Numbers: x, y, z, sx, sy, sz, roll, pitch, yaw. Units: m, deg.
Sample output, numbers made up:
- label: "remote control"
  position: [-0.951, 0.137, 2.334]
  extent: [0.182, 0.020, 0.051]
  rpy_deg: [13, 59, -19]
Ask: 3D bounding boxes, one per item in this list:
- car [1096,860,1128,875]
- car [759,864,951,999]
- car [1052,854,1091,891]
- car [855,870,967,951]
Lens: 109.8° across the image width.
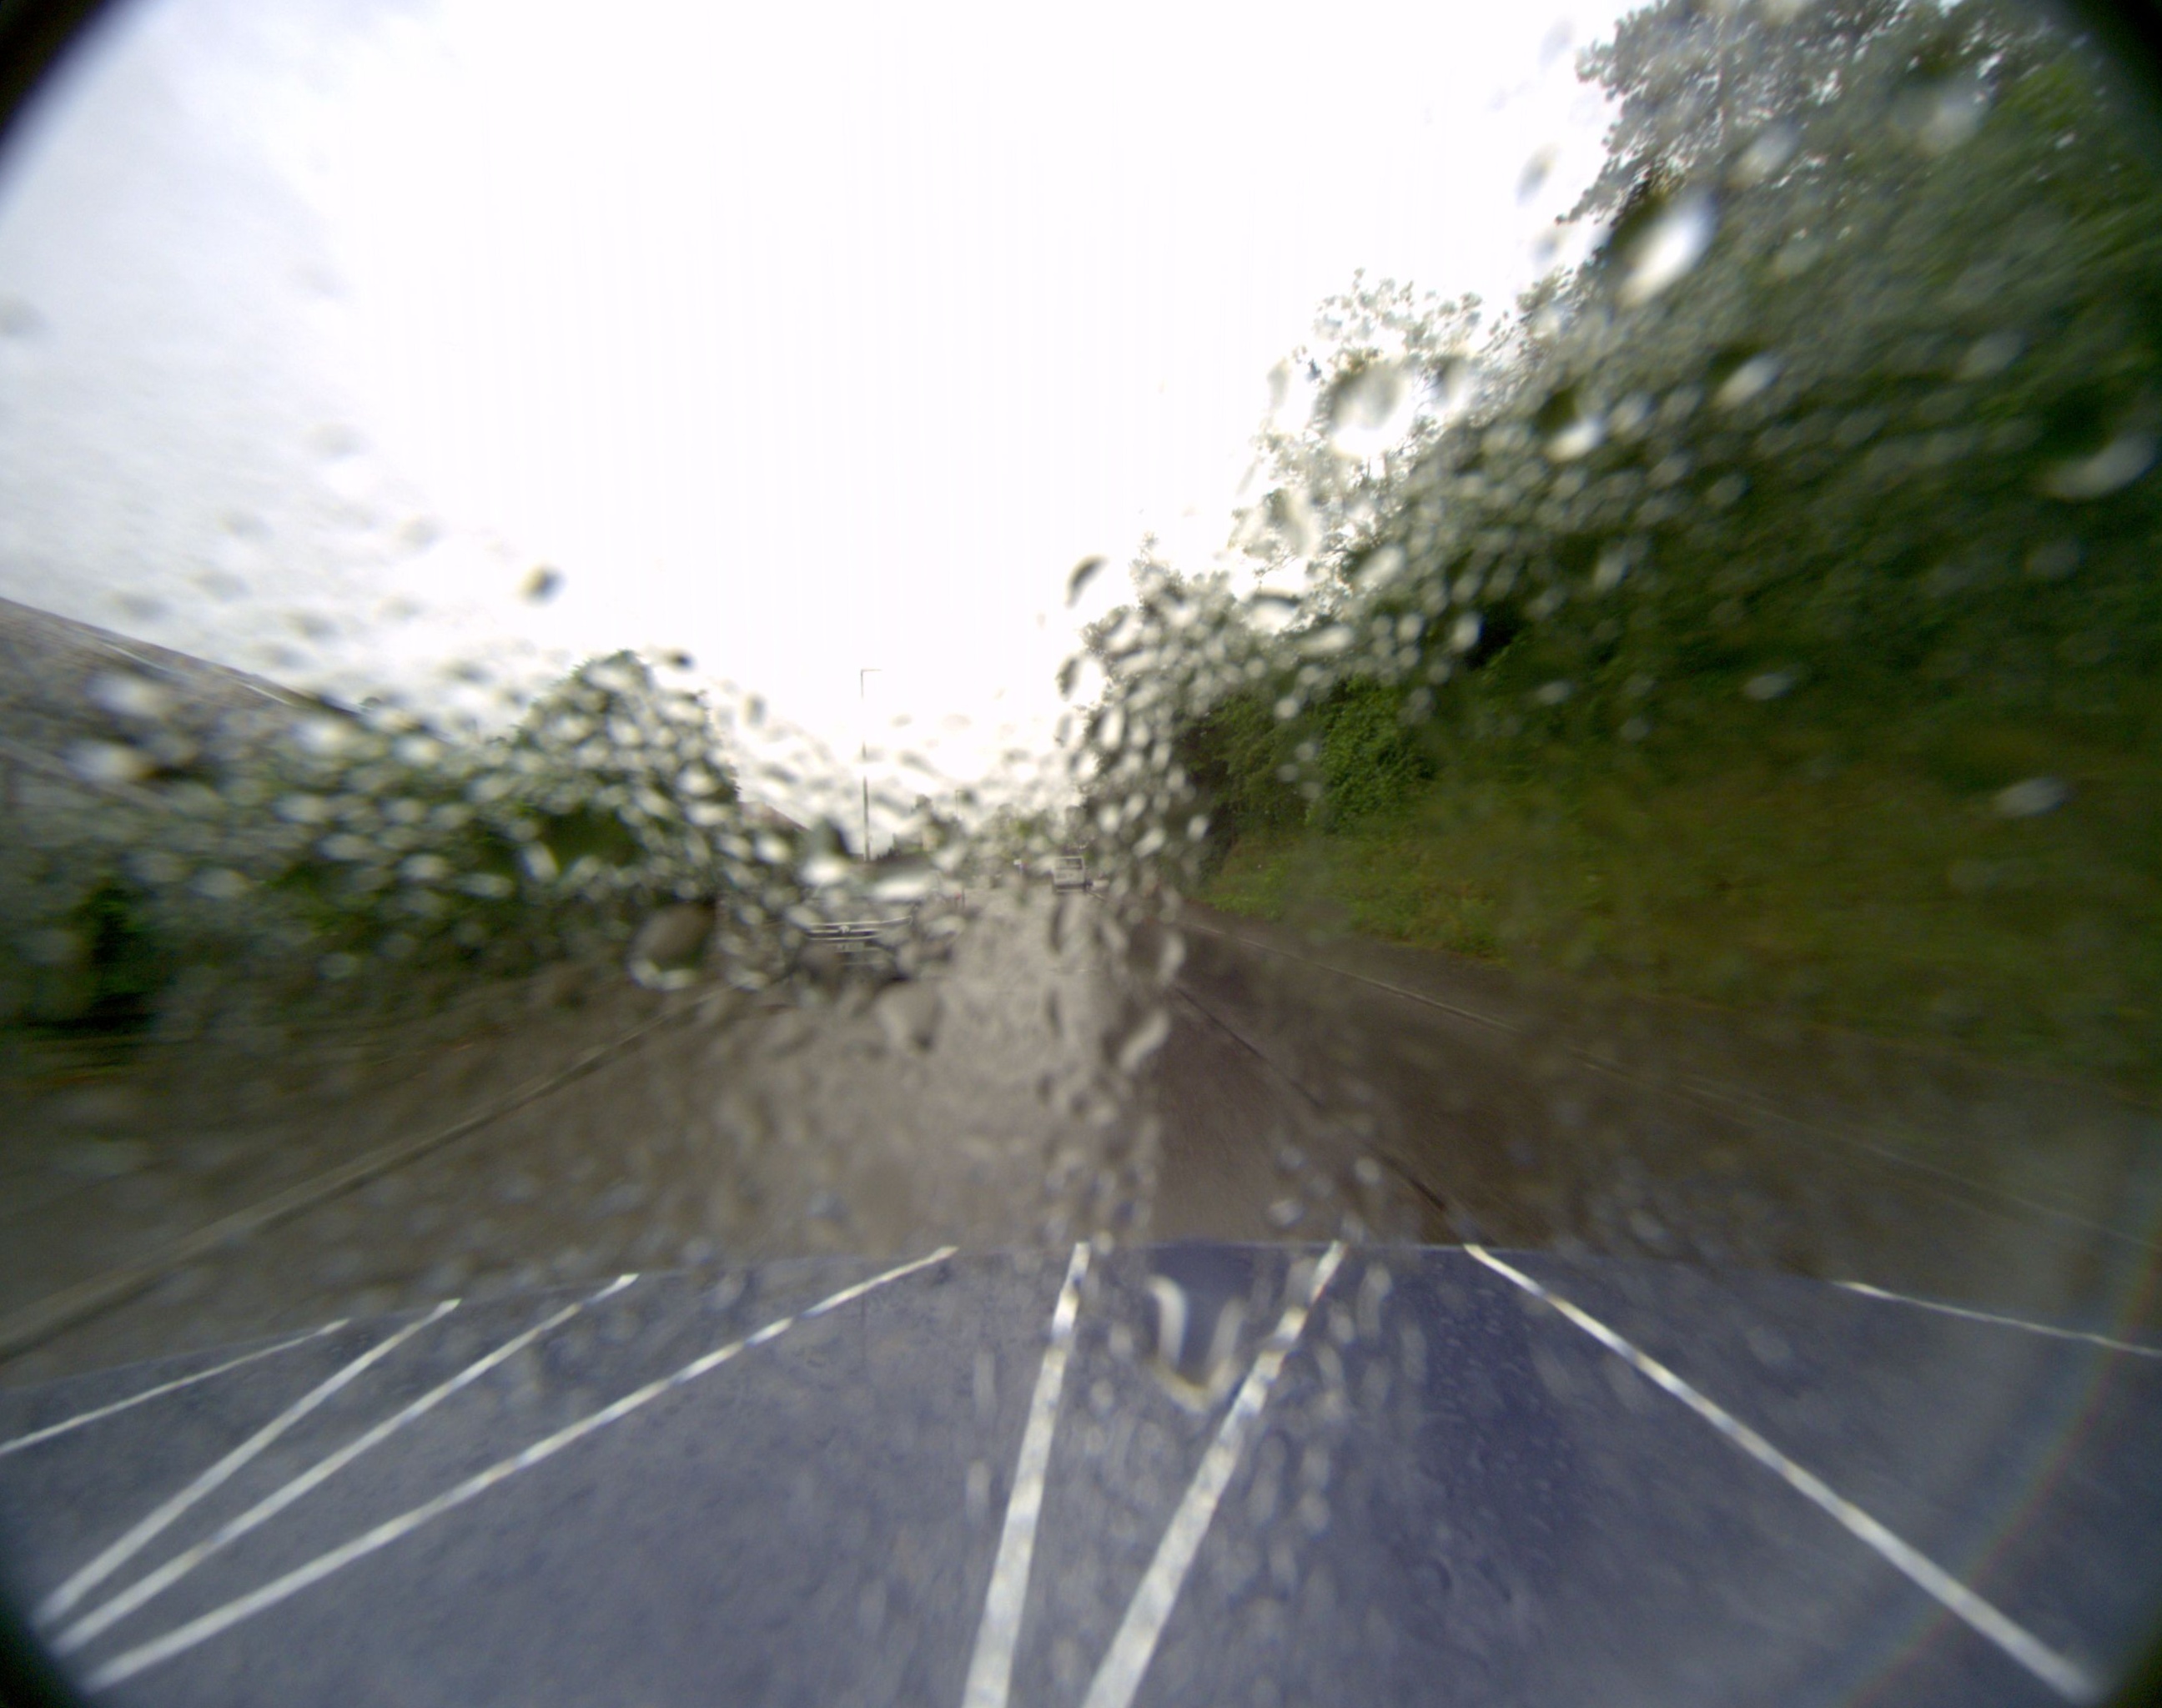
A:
- label: "car"
  position: [3.521, 1.492, 85.518]
  extent: [1.797, 1.460, 4.223]
  rpy_deg: [-3, -1, 28]
- label: "car"
  position: [-3.171, 0.989, 11.631]
  extent: [1.881, 1.582, 4.478]
  rpy_deg: [-2, -1, -5]
- label: "car"
  position: [-0.575, 1.036, 44.103]
  extent: [2.117, 1.963, 5.173]
  rpy_deg: [-2, -1, -1]
- label: "car"
  position: [-3.574, 1.120, 16.685]
  extent: [1.761, 1.453, 4.299]
  rpy_deg: [-3, -1, -5]
